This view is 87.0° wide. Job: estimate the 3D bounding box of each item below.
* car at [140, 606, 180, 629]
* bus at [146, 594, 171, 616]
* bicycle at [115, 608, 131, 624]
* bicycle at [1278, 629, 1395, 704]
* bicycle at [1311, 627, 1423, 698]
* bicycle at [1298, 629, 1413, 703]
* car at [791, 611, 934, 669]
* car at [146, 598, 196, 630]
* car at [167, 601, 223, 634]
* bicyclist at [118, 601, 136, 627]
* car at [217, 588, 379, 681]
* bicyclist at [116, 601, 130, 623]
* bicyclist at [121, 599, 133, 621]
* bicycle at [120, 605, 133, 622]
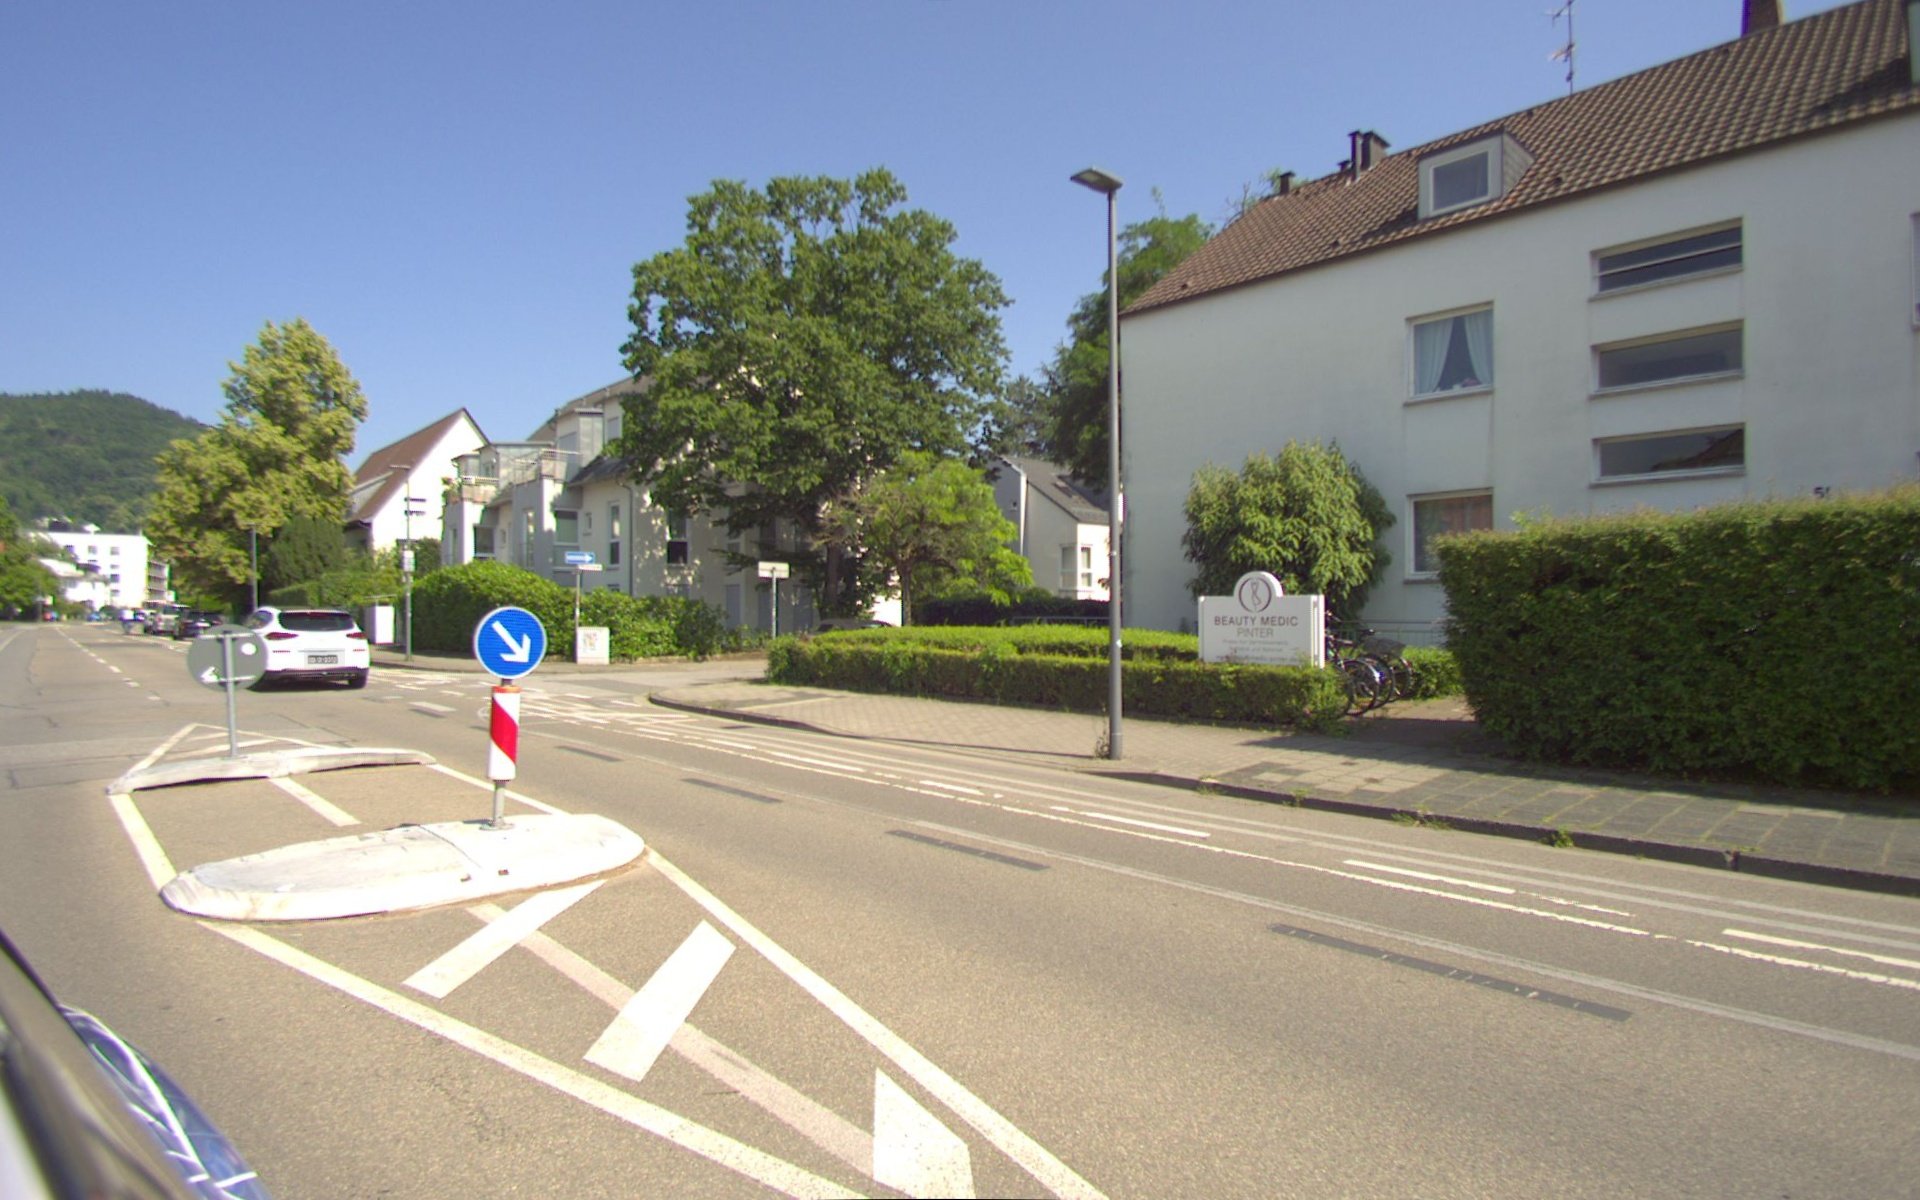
[{"bbox_3d":[-55.996,1.225,70.780,1.811,1.497,4.567,4,-3,-42],"label":"car"},{"bbox_3d":[-120.396,0.820,151.934,2.710,3.198,9.796,3,-3,-39],"label":"bus"},{"bbox_3d":[-64.966,1.222,78.525,0.773,1.175,2.423,4,-3,-42],"label":"bicycle"},{"bbox_3d":[4.822,0.835,13.013,1.369,0.880,0.329,0,4,41],"label":"bicycle"},{"bbox_3d":[5.523,0.828,13.782,1.369,0.880,0.329,0,4,41],"label":"bicycle"},{"bbox_3d":[5.191,0.844,13.328,1.369,0.880,0.329,0,4,41],"label":"bicycle"},{"bbox_3d":[-2.554,1.021,26.883,3.451,1.423,1.728,1,-1,-44],"label":"car"},{"bbox_3d":[-49.166,0.854,63.038,1.863,1.934,4.871,3,-2,-45],"label":"car"},{"bbox_3d":[-40.276,0.903,53.254,1.829,1.623,4.452,2,-1,-44],"label":"car"},{"bbox_3d":[-53.978,0.913,65.572,0.668,1.592,0.860,10,-7,-42],"label":"bicyclist"},{"bbox_3d":[-13.597,0.658,20.669,1.892,1.679,4.509,3,-2,-44],"label":"car"},{"bbox_3d":[-64.811,0.926,78.366,0.740,1.680,1.023,1,-1,-42],"label":"bicyclist"},{"bbox_3d":[-56.952,0.699,69.184,0.484,1.465,0.965,4,-3,-42],"label":"bicyclist"},{"bbox_3d":[-56.984,0.894,69.202,0.593,1.113,1.348,4,-3,-42],"label":"bicycle"}]
